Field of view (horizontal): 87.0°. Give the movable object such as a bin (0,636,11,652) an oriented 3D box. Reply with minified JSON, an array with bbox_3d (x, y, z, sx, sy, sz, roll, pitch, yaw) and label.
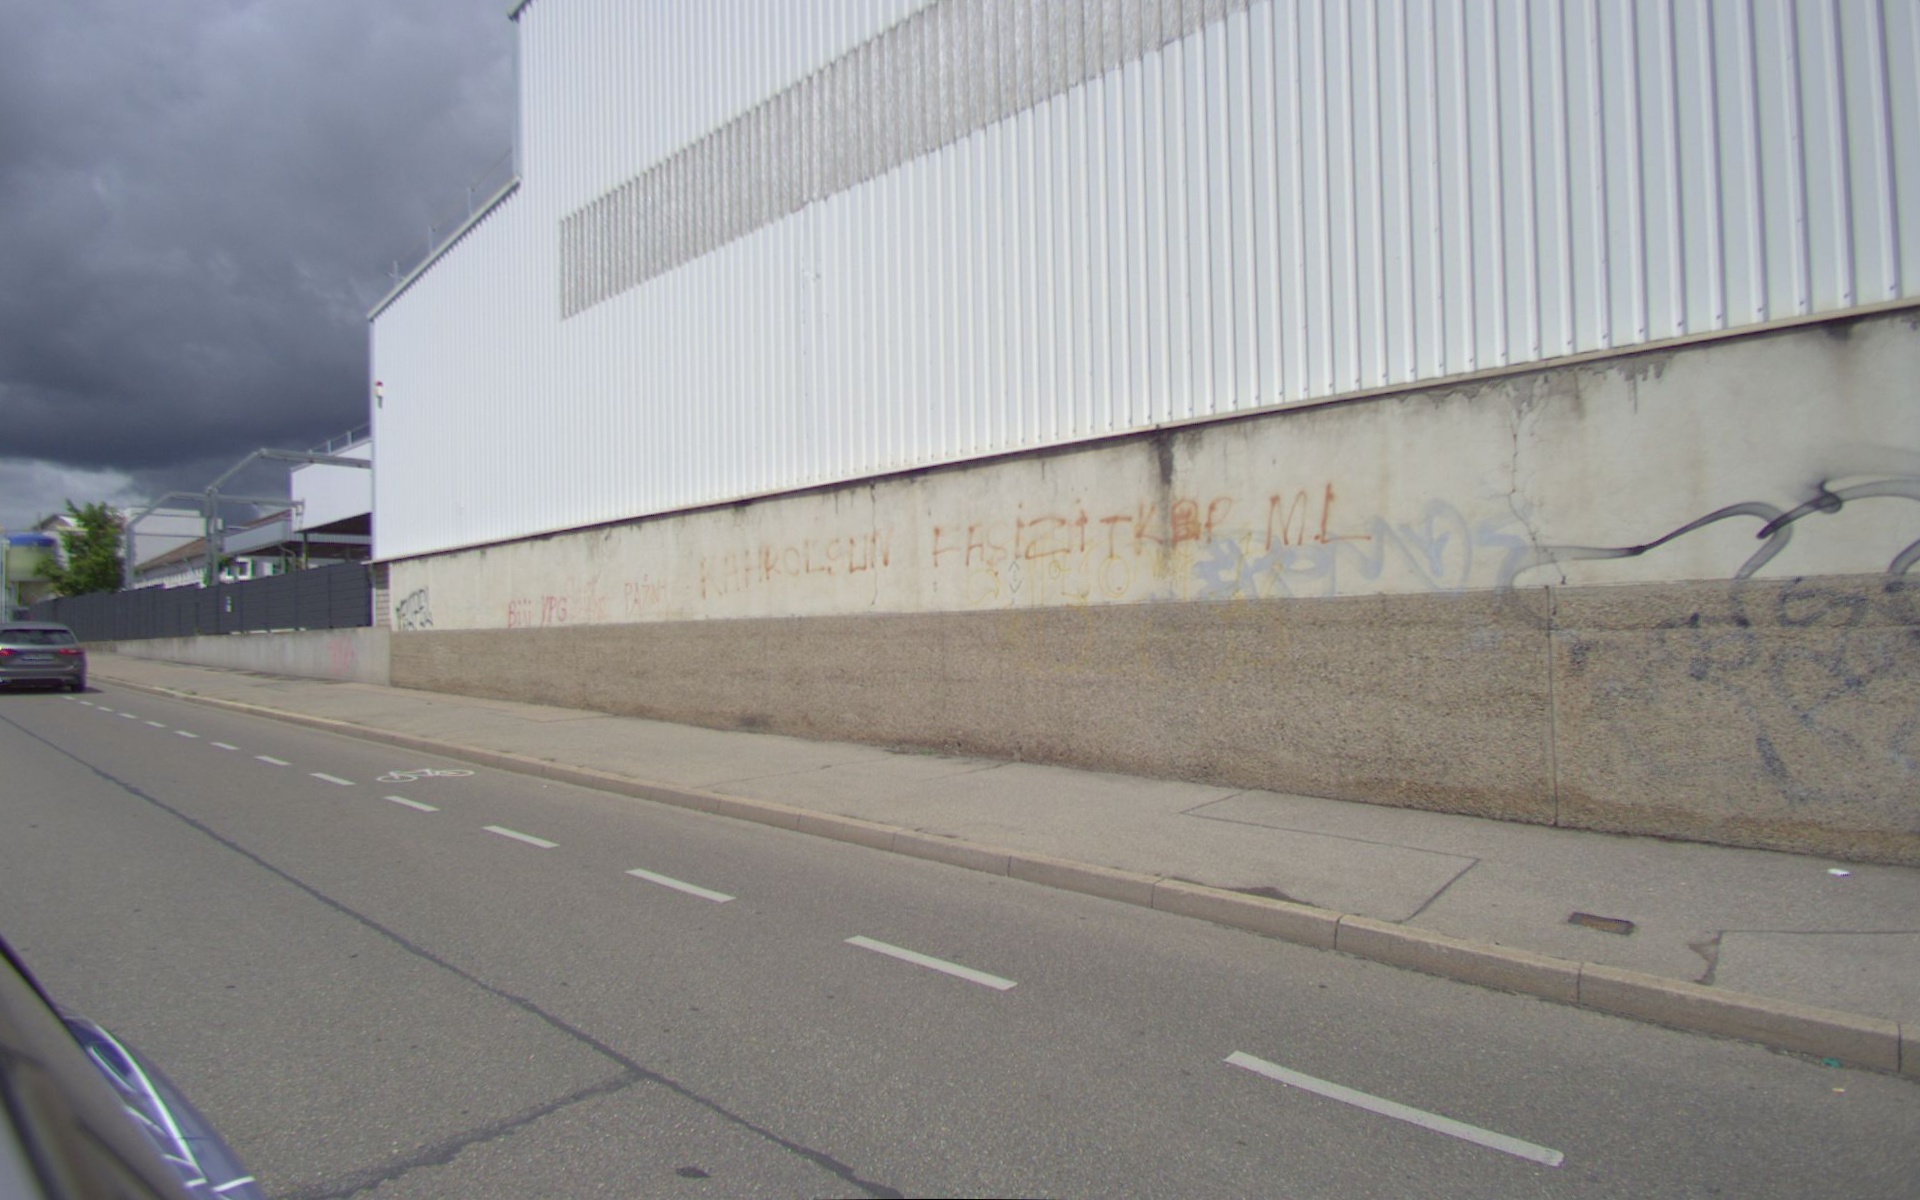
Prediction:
[{"bbox_3d":[-67.451,3.104,71.281,0.862,1.058,0.741,4,-5,-44],"label":"movable object such as a bin"}]

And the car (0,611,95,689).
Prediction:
[{"bbox_3d":[-20.750,1.058,22.450,4.286,1.567,1.701,0,-3,41],"label":"car"}]

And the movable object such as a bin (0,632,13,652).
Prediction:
[{"bbox_3d":[-68.138,2.956,71.982,1.215,1.404,0.980,-3,-4,43],"label":"movable object such as a bin"}]
